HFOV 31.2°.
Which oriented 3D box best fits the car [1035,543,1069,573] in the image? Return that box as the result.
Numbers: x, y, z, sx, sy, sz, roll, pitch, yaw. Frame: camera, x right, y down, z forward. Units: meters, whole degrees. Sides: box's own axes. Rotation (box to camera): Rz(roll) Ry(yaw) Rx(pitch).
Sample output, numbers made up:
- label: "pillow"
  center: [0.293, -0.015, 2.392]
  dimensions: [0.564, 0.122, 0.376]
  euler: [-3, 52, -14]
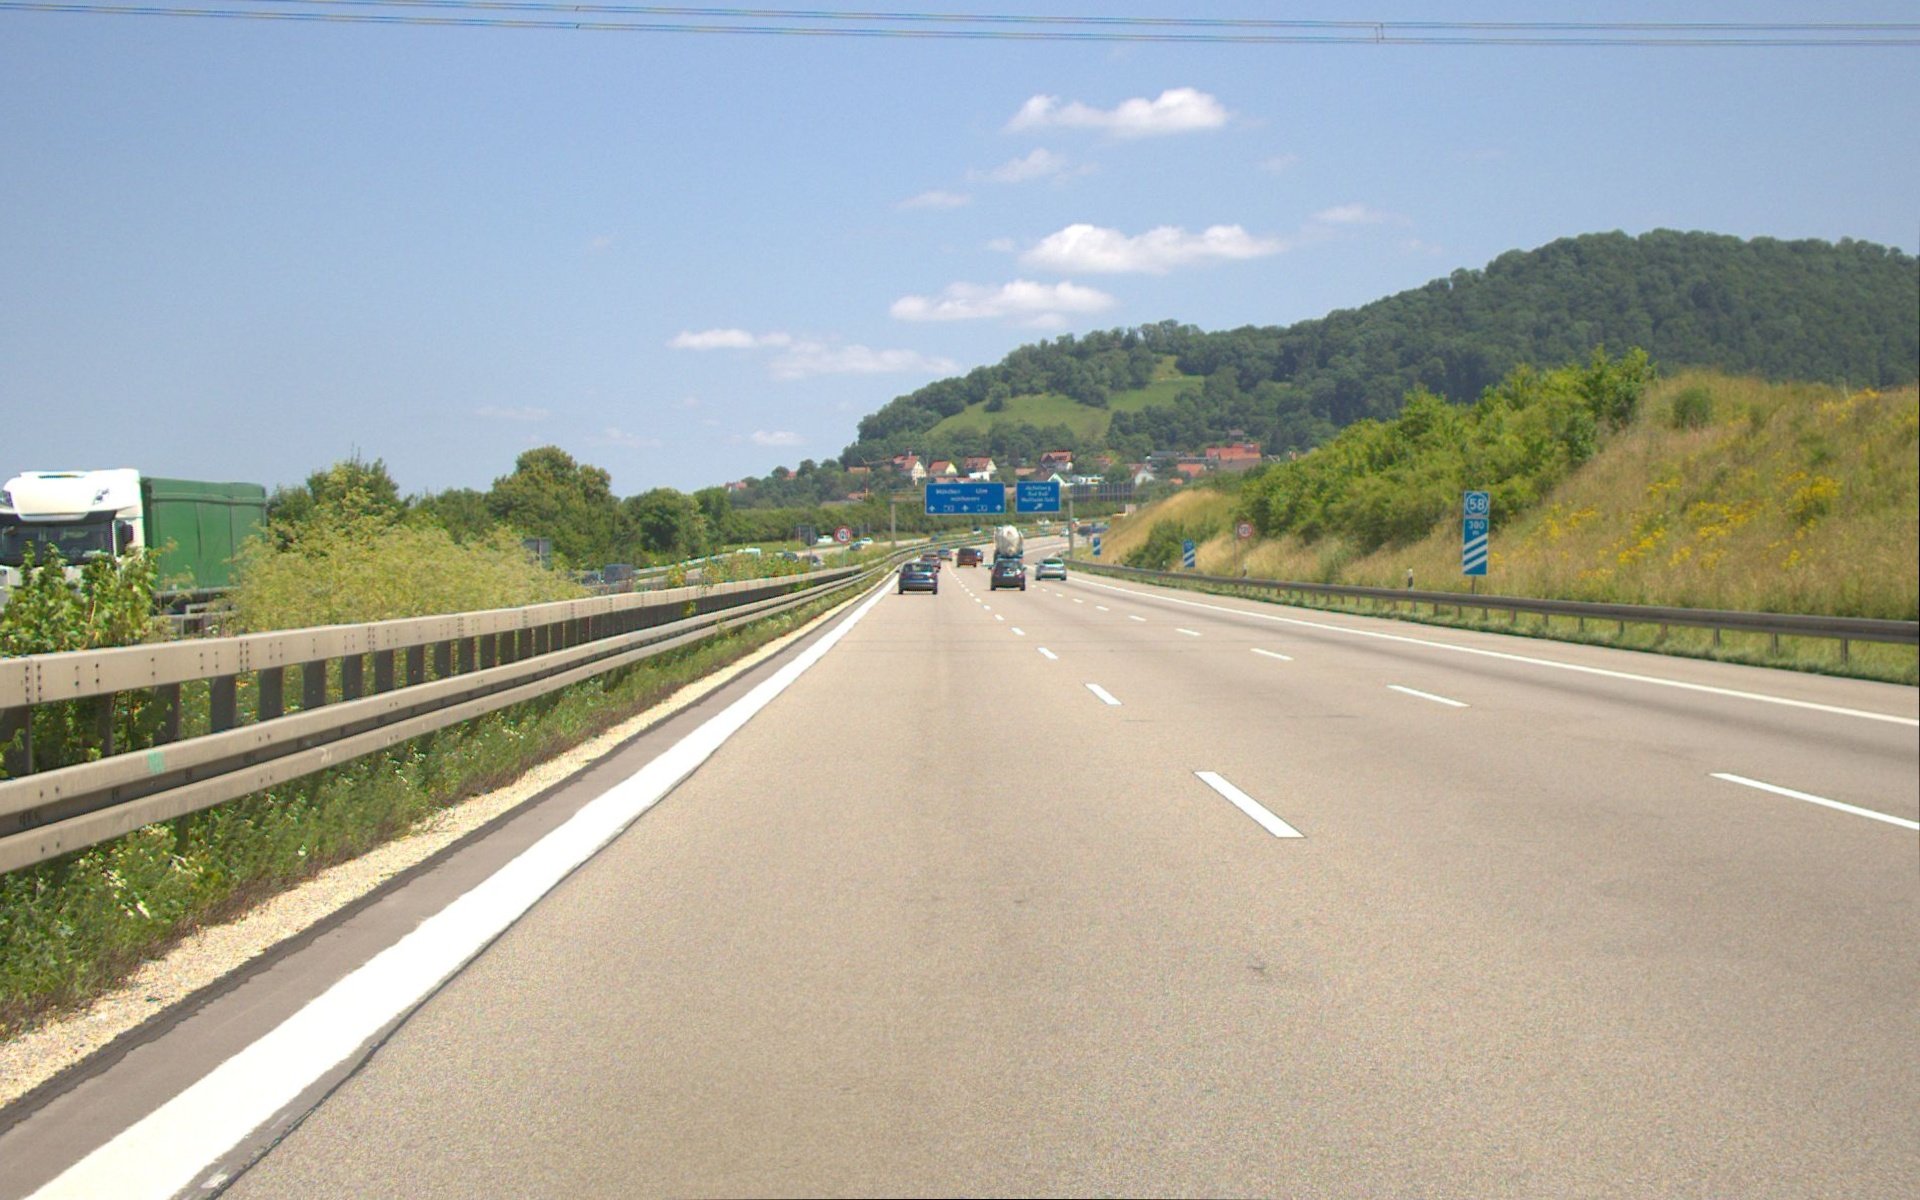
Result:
- label: "car"
  center: [5.772, -2.612, 215.550]
  dimensions: [1.993, 1.812, 4.000]
  euler: [-1, 1, 0]

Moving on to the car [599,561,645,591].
- label: "car"
  center: [-17.730, -1.248, 180.476]
  dimensions: [1.947, 1.538, 4.286]
  euler: [1, 0, 0]

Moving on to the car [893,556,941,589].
- label: "car"
  center: [-1.835, -1.173, 147.797]
  dimensions: [1.993, 1.384, 4.000]
  euler: [1, 0, 0]

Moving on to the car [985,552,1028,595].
- label: "car"
  center: [2.215, -1.283, 164.521]
  dimensions: [1.993, 2.007, 4.000]
  euler: [1, 0, 0]

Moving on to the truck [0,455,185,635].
- label: "truck"
  center: [-18.063, -1.110, 71.247]
  dimensions: [2.723, 3.547, 5.901]
  euler: [1, 0, -1]

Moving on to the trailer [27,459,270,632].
- label: "trailer"
  center: [-18.206, -1.172, 78.080]
  dimensions: [2.753, 3.582, 12.537]
  euler: [1, 0, -1]
